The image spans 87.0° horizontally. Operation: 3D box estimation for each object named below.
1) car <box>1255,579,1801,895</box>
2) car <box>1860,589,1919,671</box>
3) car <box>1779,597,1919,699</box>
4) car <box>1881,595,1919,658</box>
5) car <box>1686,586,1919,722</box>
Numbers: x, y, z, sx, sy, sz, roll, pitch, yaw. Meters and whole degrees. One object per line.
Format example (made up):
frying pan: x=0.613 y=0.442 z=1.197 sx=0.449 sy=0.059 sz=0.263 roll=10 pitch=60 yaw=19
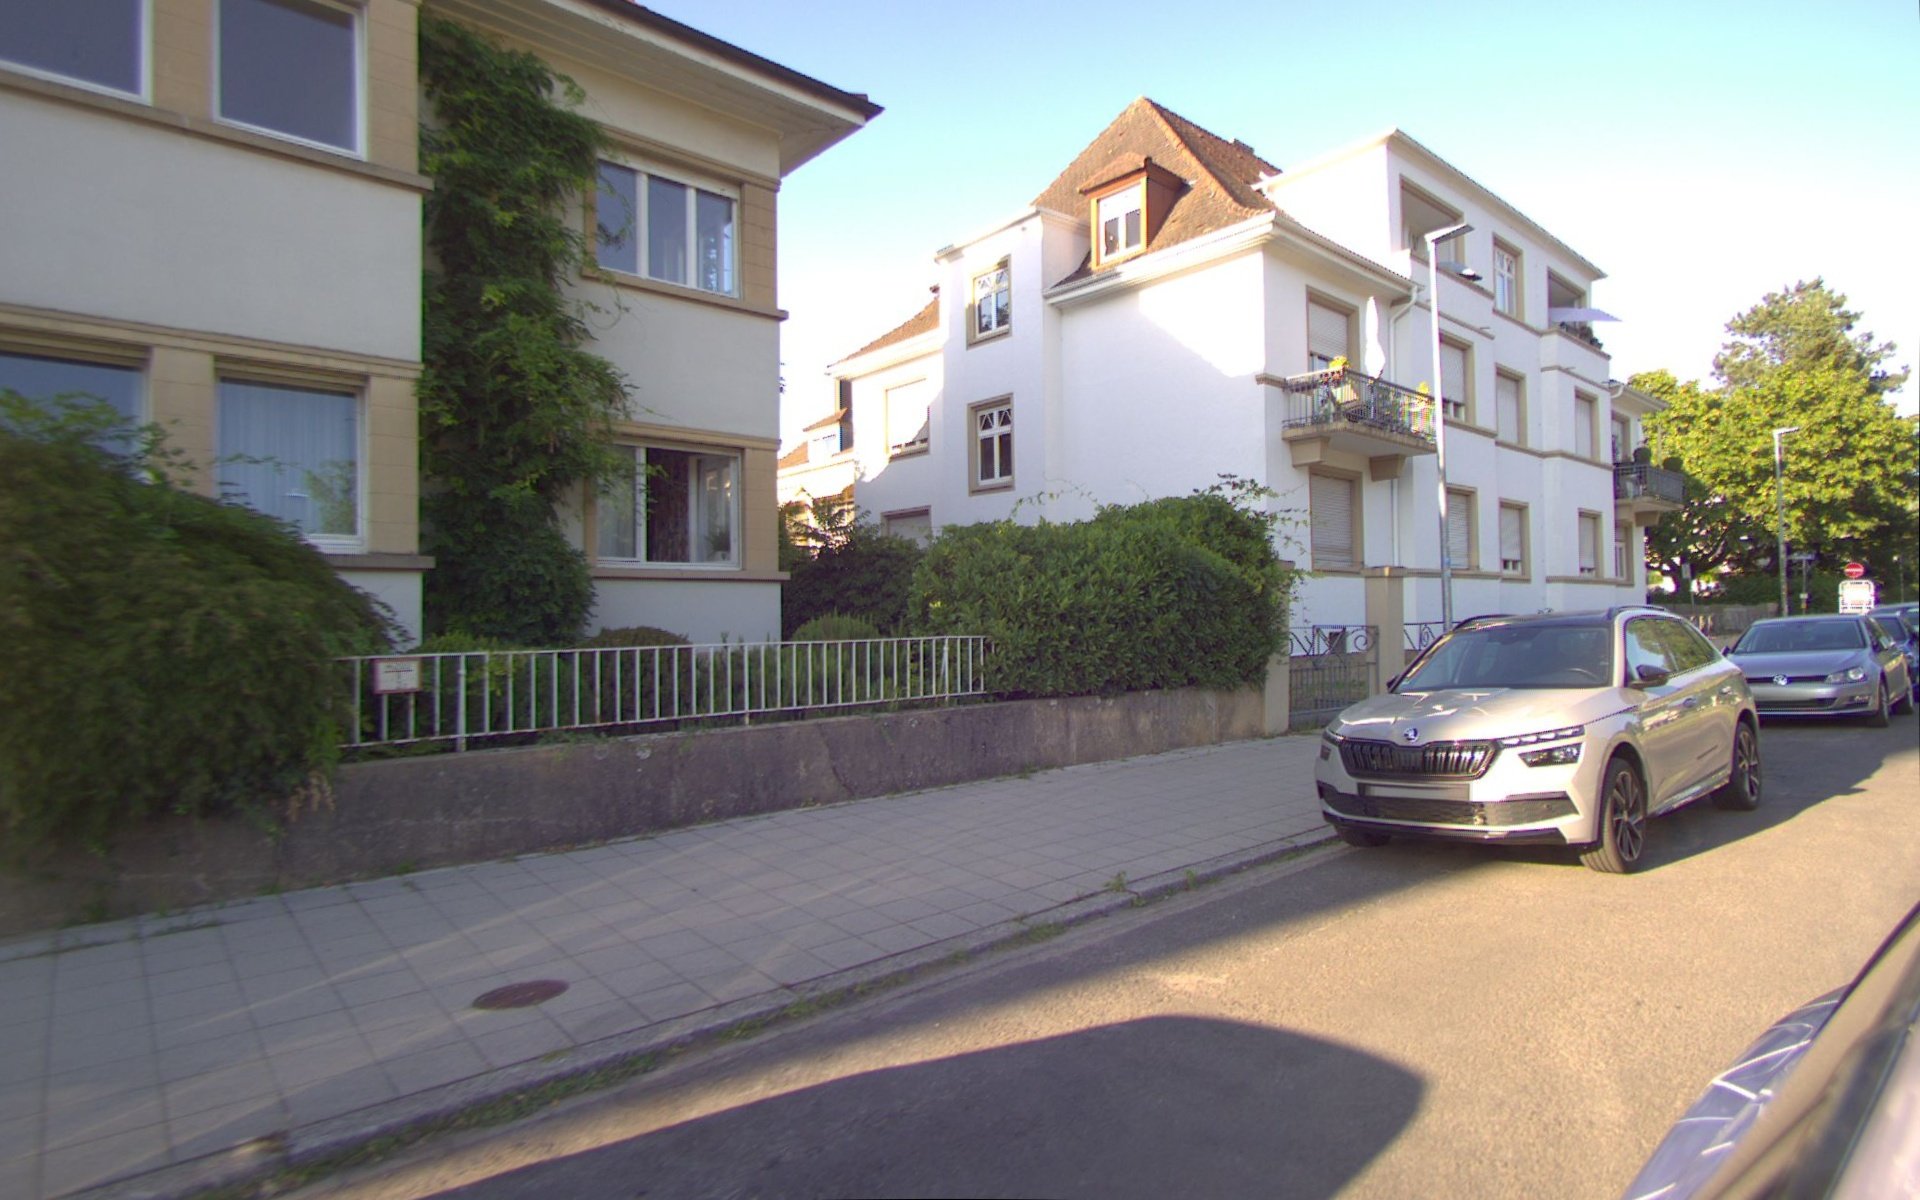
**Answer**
car: x=4.258 y=0.731 z=7.283 sx=4.383 sy=1.556 sz=1.886 roll=-2 pitch=-3 yaw=-40
car: x=22.286 y=0.590 z=23.283 sx=4.508 sy=1.670 sz=1.802 roll=-2 pitch=-5 yaw=-43
car: x=15.752 y=0.767 z=17.488 sx=4.231 sy=1.454 sz=1.763 roll=-1 pitch=-6 yaw=-43
car: x=26.503 y=0.589 z=27.179 sx=4.509 sy=1.554 sz=1.878 roll=-1 pitch=-6 yaw=-40
car: x=11.894 y=0.743 z=14.008 sx=4.486 sy=1.580 sz=1.913 roll=1 pitch=-6 yaw=-41
